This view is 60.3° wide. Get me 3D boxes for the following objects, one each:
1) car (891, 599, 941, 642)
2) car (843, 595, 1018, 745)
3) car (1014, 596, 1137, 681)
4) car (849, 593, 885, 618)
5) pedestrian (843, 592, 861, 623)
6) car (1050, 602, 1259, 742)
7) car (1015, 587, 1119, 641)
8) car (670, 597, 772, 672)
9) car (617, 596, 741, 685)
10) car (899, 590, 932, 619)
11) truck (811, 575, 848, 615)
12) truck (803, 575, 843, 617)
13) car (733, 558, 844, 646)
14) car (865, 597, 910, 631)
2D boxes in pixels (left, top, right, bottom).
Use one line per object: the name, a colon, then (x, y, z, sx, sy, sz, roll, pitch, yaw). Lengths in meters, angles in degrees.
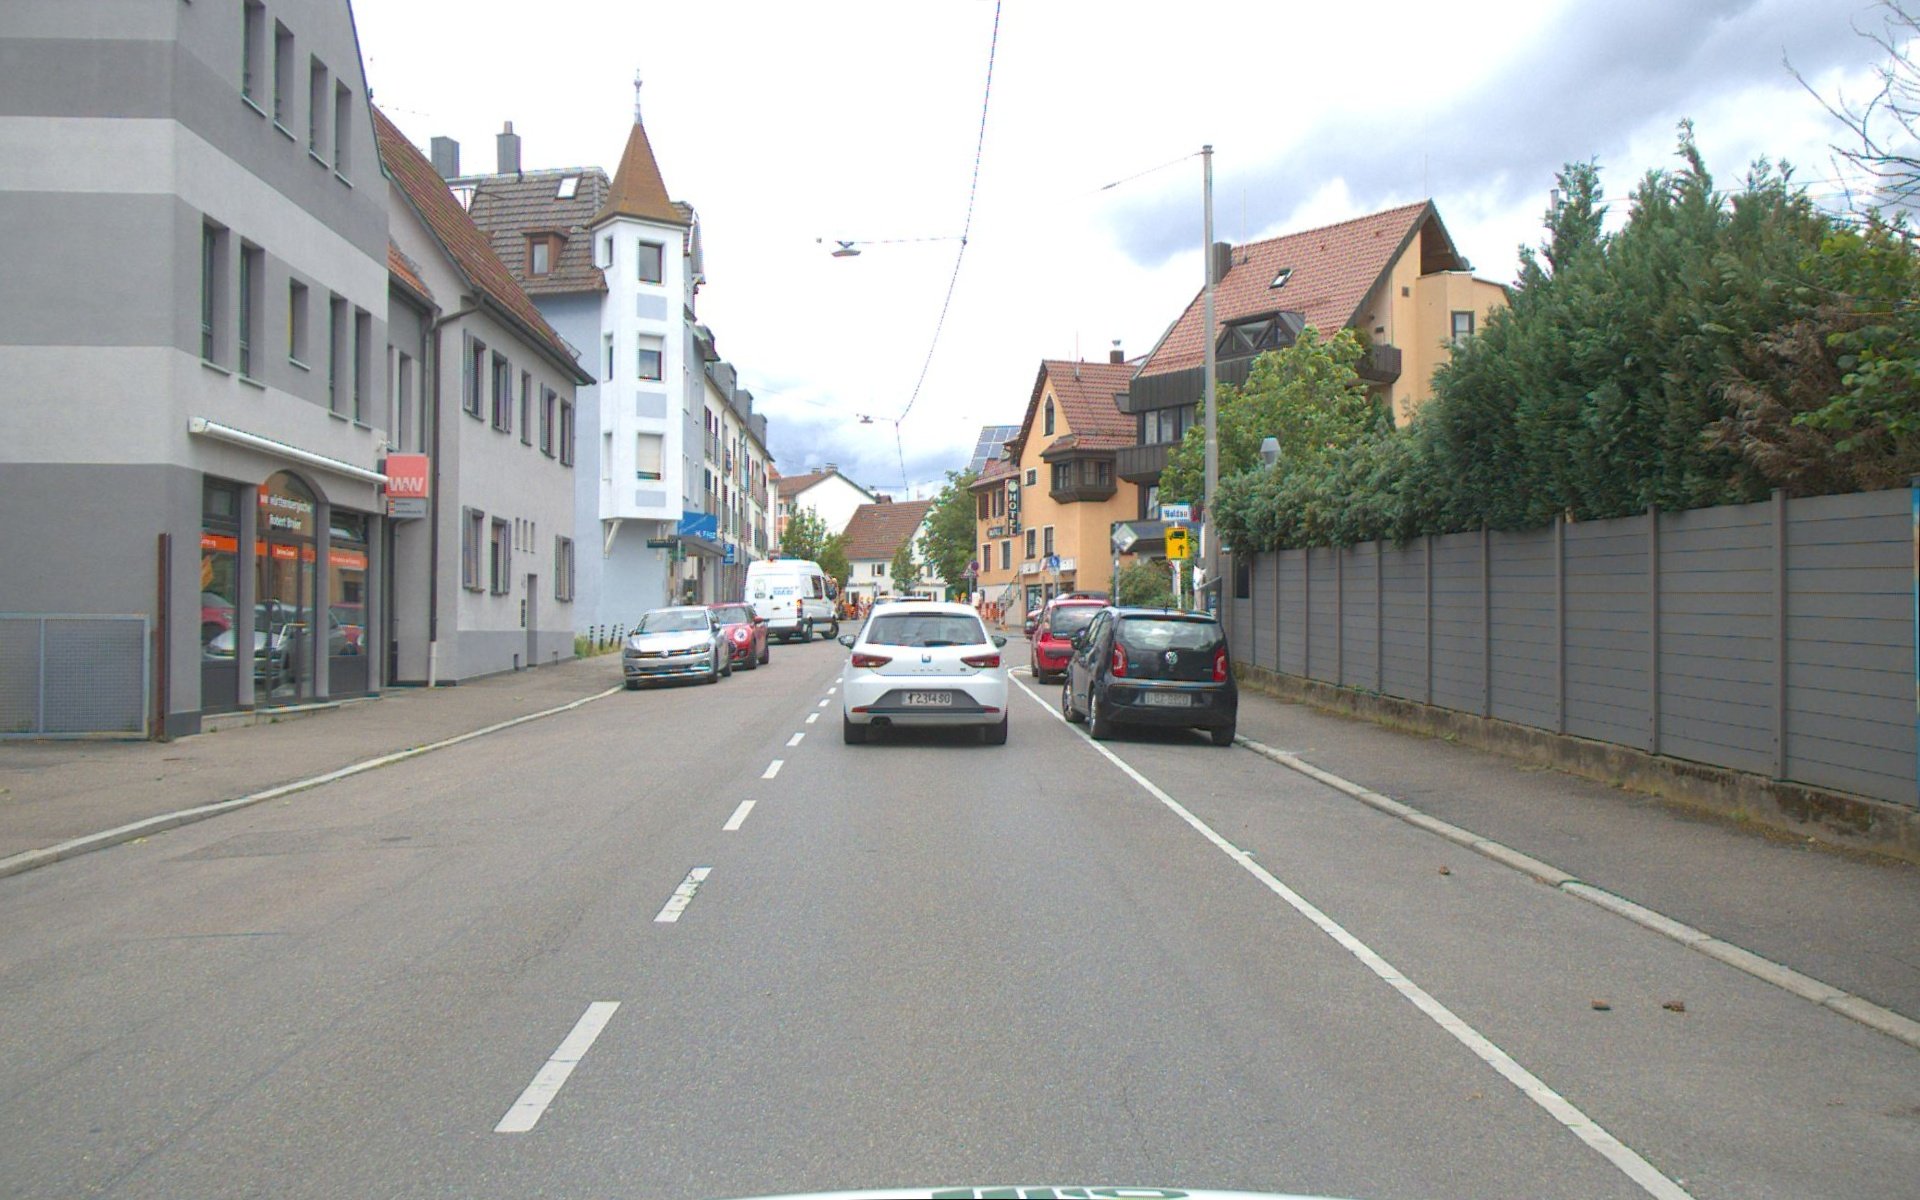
car: (-1.566, 0.694, 59.277, 1.723, 1.477, 3.999, 0, 0, -2)
car: (-0.340, 0.689, 18.349, 1.723, 1.477, 3.999, 0, 0, -1)
car: (2.078, 0.669, 30.735, 1.724, 1.477, 3.996, 0, 0, -4)
car: (-6.704, 0.378, 119.330, 1.756, 1.731, 4.003, 0, 0, 9)
pedestrian: (-7.425, 0.508, 113.506, 1.203, 2.049, 1.175, 0, 0, -1)
car: (2.186, 0.764, 19.635, 1.724, 1.477, 3.996, 0, 0, -4)
car: (3.239, 0.424, 50.250, 2.759, 1.538, 1.703, 1, 1, -13)
car: (-5.342, 0.732, 37.408, 1.763, 1.505, 4.049, -3, 0, -2)
car: (-5.339, 0.730, 31.877, 1.763, 1.505, 4.049, -3, 0, -2)
car: (-2.435, 0.225, 90.549, 1.726, 1.524, 3.788, 0, 0, -1)
truck: (-8.546, -0.350, 108.909, 2.108, 2.502, 5.393, 1, 0, -1)
truck: (-8.527, -0.259, 102.996, 2.108, 2.502, 5.393, 1, 0, -1)
car: (-5.597, 0.039, 54.814, 2.106, 2.734, 5.550, 1, 0, 11)
car: (-3.369, 0.628, 75.886, 1.725, 1.477, 3.993, 0, 0, -8)
